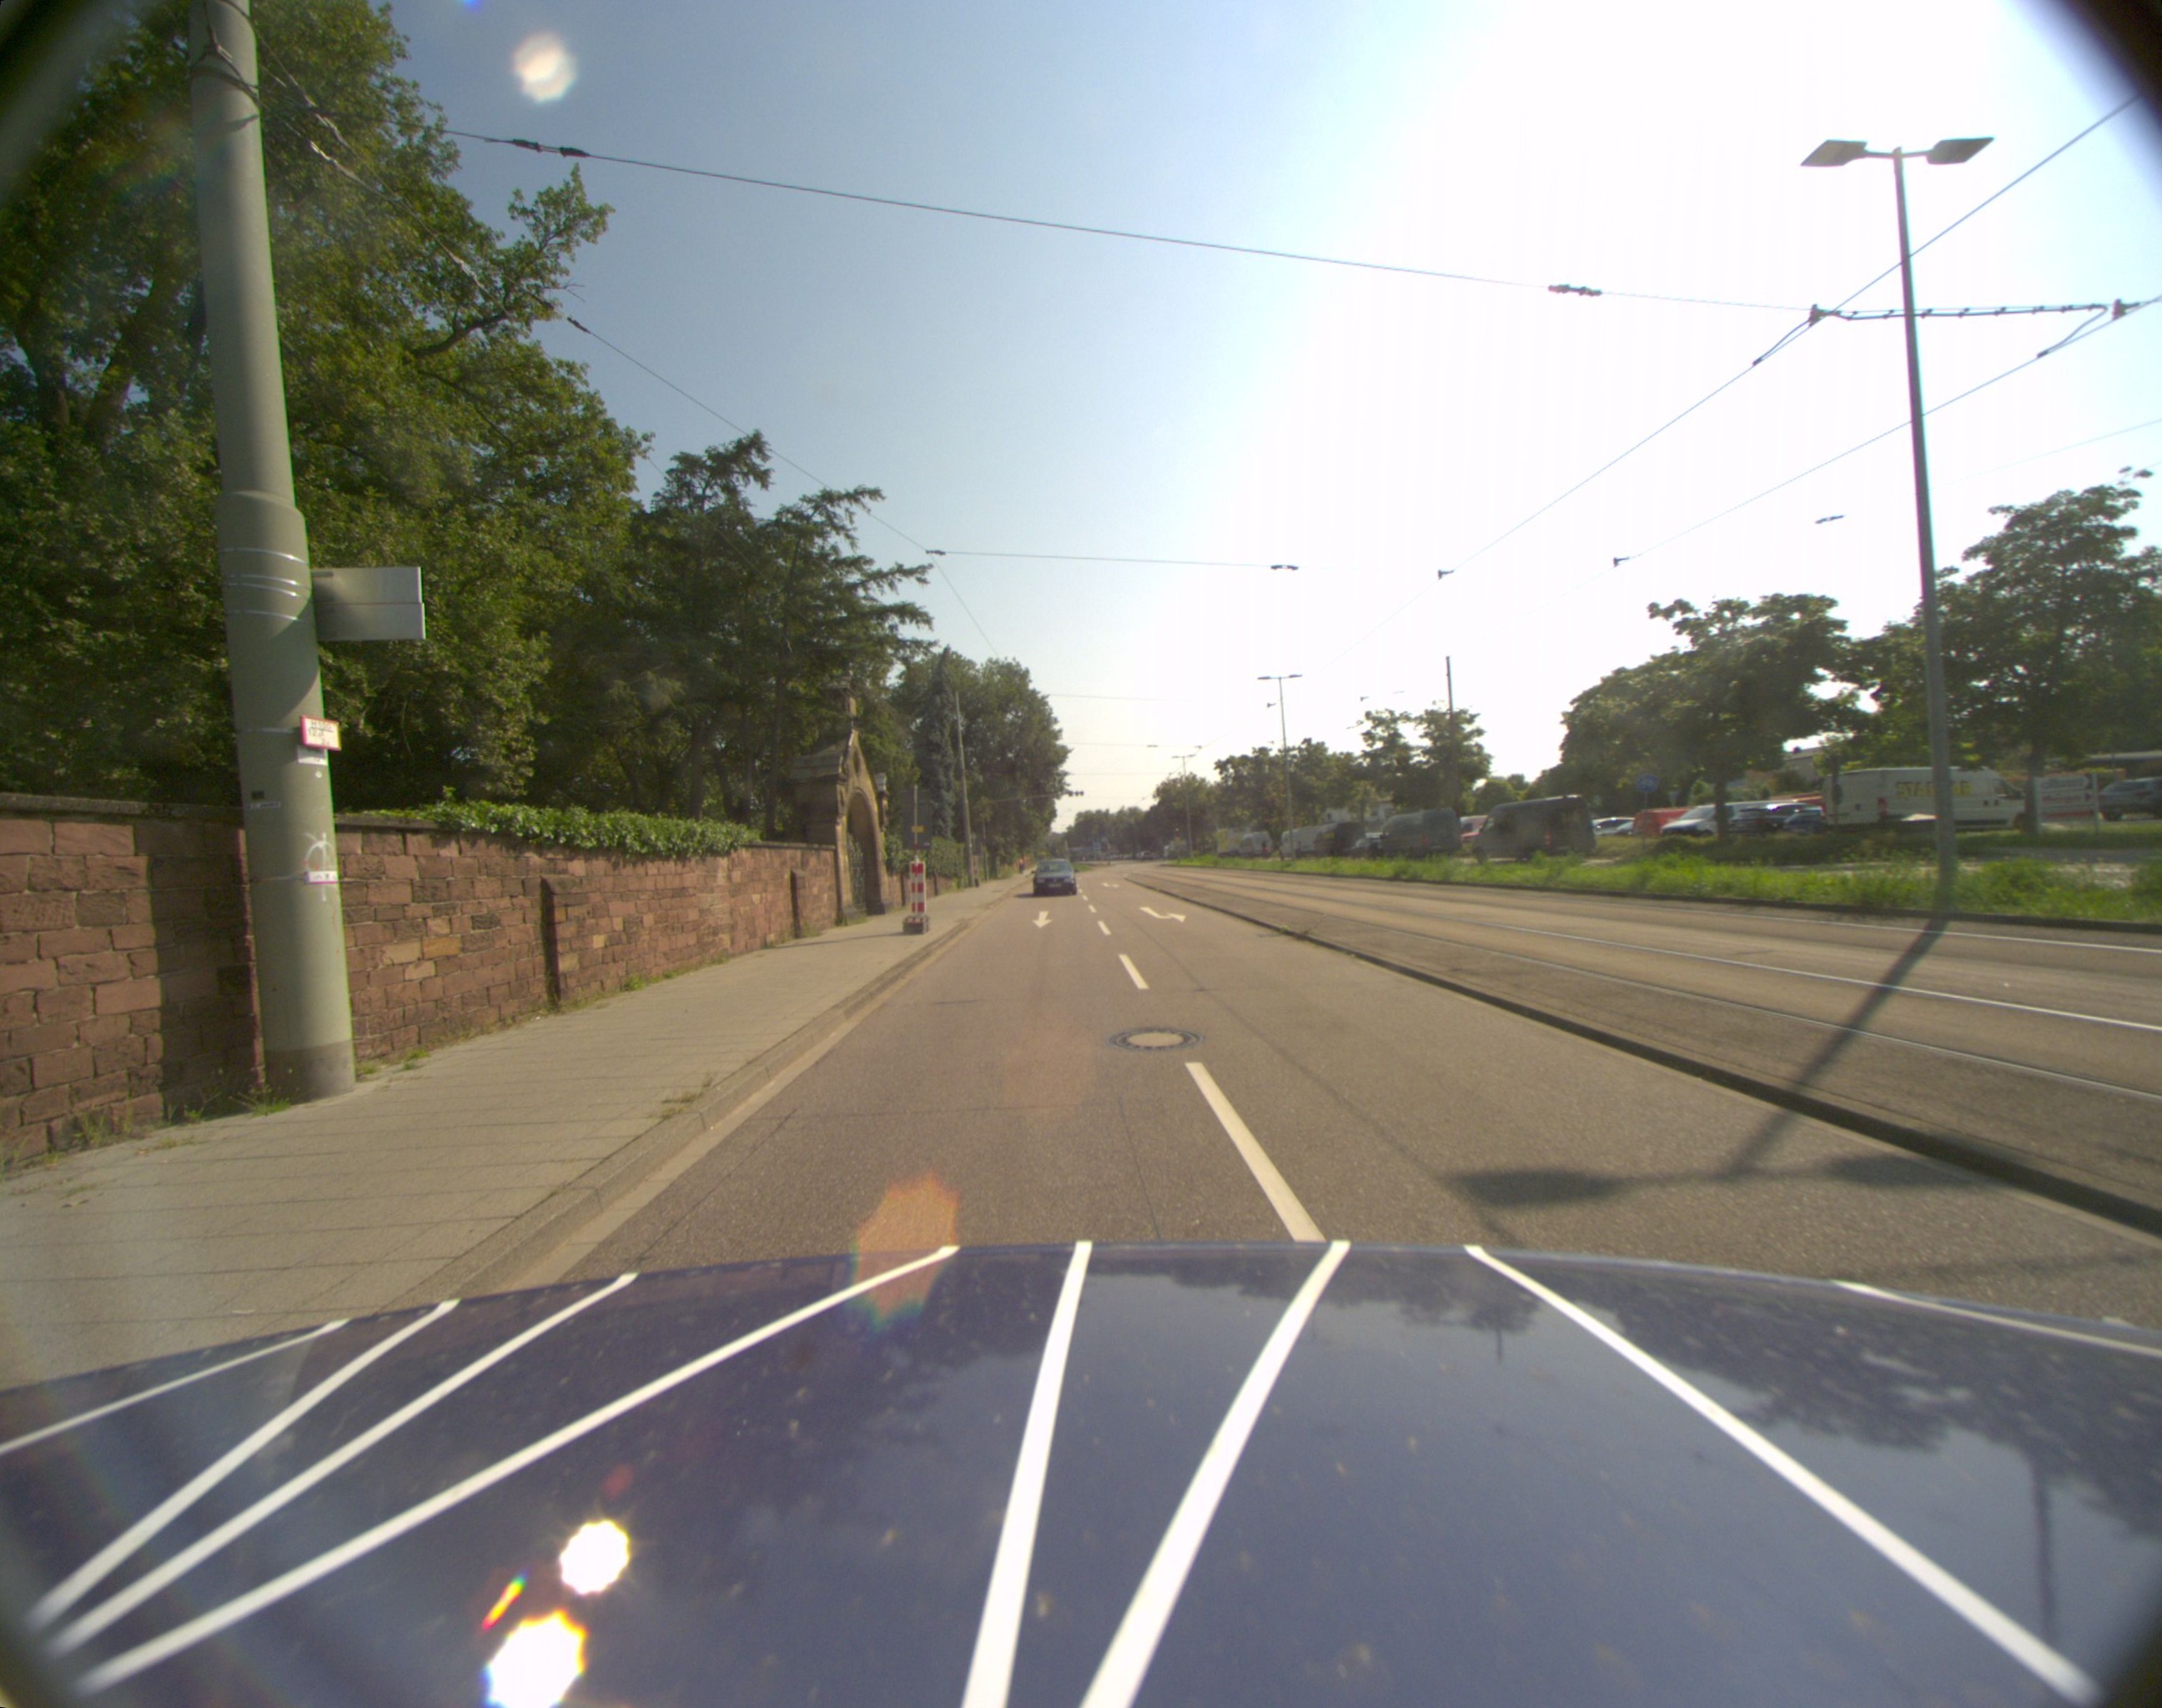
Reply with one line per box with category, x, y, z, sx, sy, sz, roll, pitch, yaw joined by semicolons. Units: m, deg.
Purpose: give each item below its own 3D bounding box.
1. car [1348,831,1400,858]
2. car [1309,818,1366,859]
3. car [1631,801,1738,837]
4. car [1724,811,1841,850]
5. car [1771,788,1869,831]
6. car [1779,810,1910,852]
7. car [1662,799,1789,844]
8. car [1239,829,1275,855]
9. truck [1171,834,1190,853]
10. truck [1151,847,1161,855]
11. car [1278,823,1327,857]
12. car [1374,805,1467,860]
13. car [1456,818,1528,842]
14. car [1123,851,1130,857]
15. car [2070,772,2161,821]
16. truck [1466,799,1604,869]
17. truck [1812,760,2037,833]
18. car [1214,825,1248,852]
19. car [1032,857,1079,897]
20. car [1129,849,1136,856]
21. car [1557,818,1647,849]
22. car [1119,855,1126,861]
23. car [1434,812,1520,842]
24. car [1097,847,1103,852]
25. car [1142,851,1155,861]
car;18.468;-0.590;48.013;1.749;1.543;3.833;-5;0;1
car;18.161;-1.046;54.036;1.827;2.571;5.909;-5;0;0
car;29.414;-1.708;37.105;3.934;1.509;1.633;-3;1;-2
car;29.169;-0.948;31.674;3.414;1.418;1.633;-3;1;-2
car;43.236;-2.580;44.522;3.998;2.086;1.802;-4;1;-3
car;29.182;-0.862;29.100;3.414;1.418;1.633;-3;1;-2
car;29.086;-1.455;34.367;4.410;1.774;1.633;-3;1;-2
car;17.662;-1.176;76.530;2.148;2.444;4.830;-3;1;-3
truck;16.882;-1.775;129.267;2.278;3.103;8.786;-3;0;1
truck;15.640;-0.682;158.439;1.691;1.665;3.655;-3;1;-1
car;18.042;-1.096;62.199;2.138;2.571;5.630;-3;1;-1
car;18.384;-1.107;41.582;1.993;2.571;6.466;-5;0;0
car;28.426;-1.643;52.623;3.997;1.442;1.857;-3;1;-1
car;12.902;0.033;214.471;1.551;1.575;3.455;-3;1;-2
car;42.064;-2.310;29.889;3.811;1.758;1.759;-3;1;4
truck;18.674;-0.773;31.682;2.086;2.533;5.737;-3;1;-2
truck;29.437;-1.963;26.652;5.504;2.160;2.259;-3;1;-3
car;16.897;-1.733;86.036;2.130;2.789;7.230;-3;0;-1
car;-0.993;0.898;31.432;1.776;1.416;3.934;-2;0;0
car;13.804;-0.346;203.121;1.551;1.758;3.644;-3;1;-2
car;28.946;-1.113;42.275;4.170;1.455;1.623;-3;0;-11
car;11.987;1.189;220.432;1.551;1.575;3.455;-3;1;-2
car;28.887;-1.975;55.515;5.199;1.914;2.052;-3;1;-2
car;6.302;-1.631;250.942;1.551;1.575;3.455;-3;1;-2
car;11.876;0.328;133.081;1.930;1.511;3.949;-3;0;1
